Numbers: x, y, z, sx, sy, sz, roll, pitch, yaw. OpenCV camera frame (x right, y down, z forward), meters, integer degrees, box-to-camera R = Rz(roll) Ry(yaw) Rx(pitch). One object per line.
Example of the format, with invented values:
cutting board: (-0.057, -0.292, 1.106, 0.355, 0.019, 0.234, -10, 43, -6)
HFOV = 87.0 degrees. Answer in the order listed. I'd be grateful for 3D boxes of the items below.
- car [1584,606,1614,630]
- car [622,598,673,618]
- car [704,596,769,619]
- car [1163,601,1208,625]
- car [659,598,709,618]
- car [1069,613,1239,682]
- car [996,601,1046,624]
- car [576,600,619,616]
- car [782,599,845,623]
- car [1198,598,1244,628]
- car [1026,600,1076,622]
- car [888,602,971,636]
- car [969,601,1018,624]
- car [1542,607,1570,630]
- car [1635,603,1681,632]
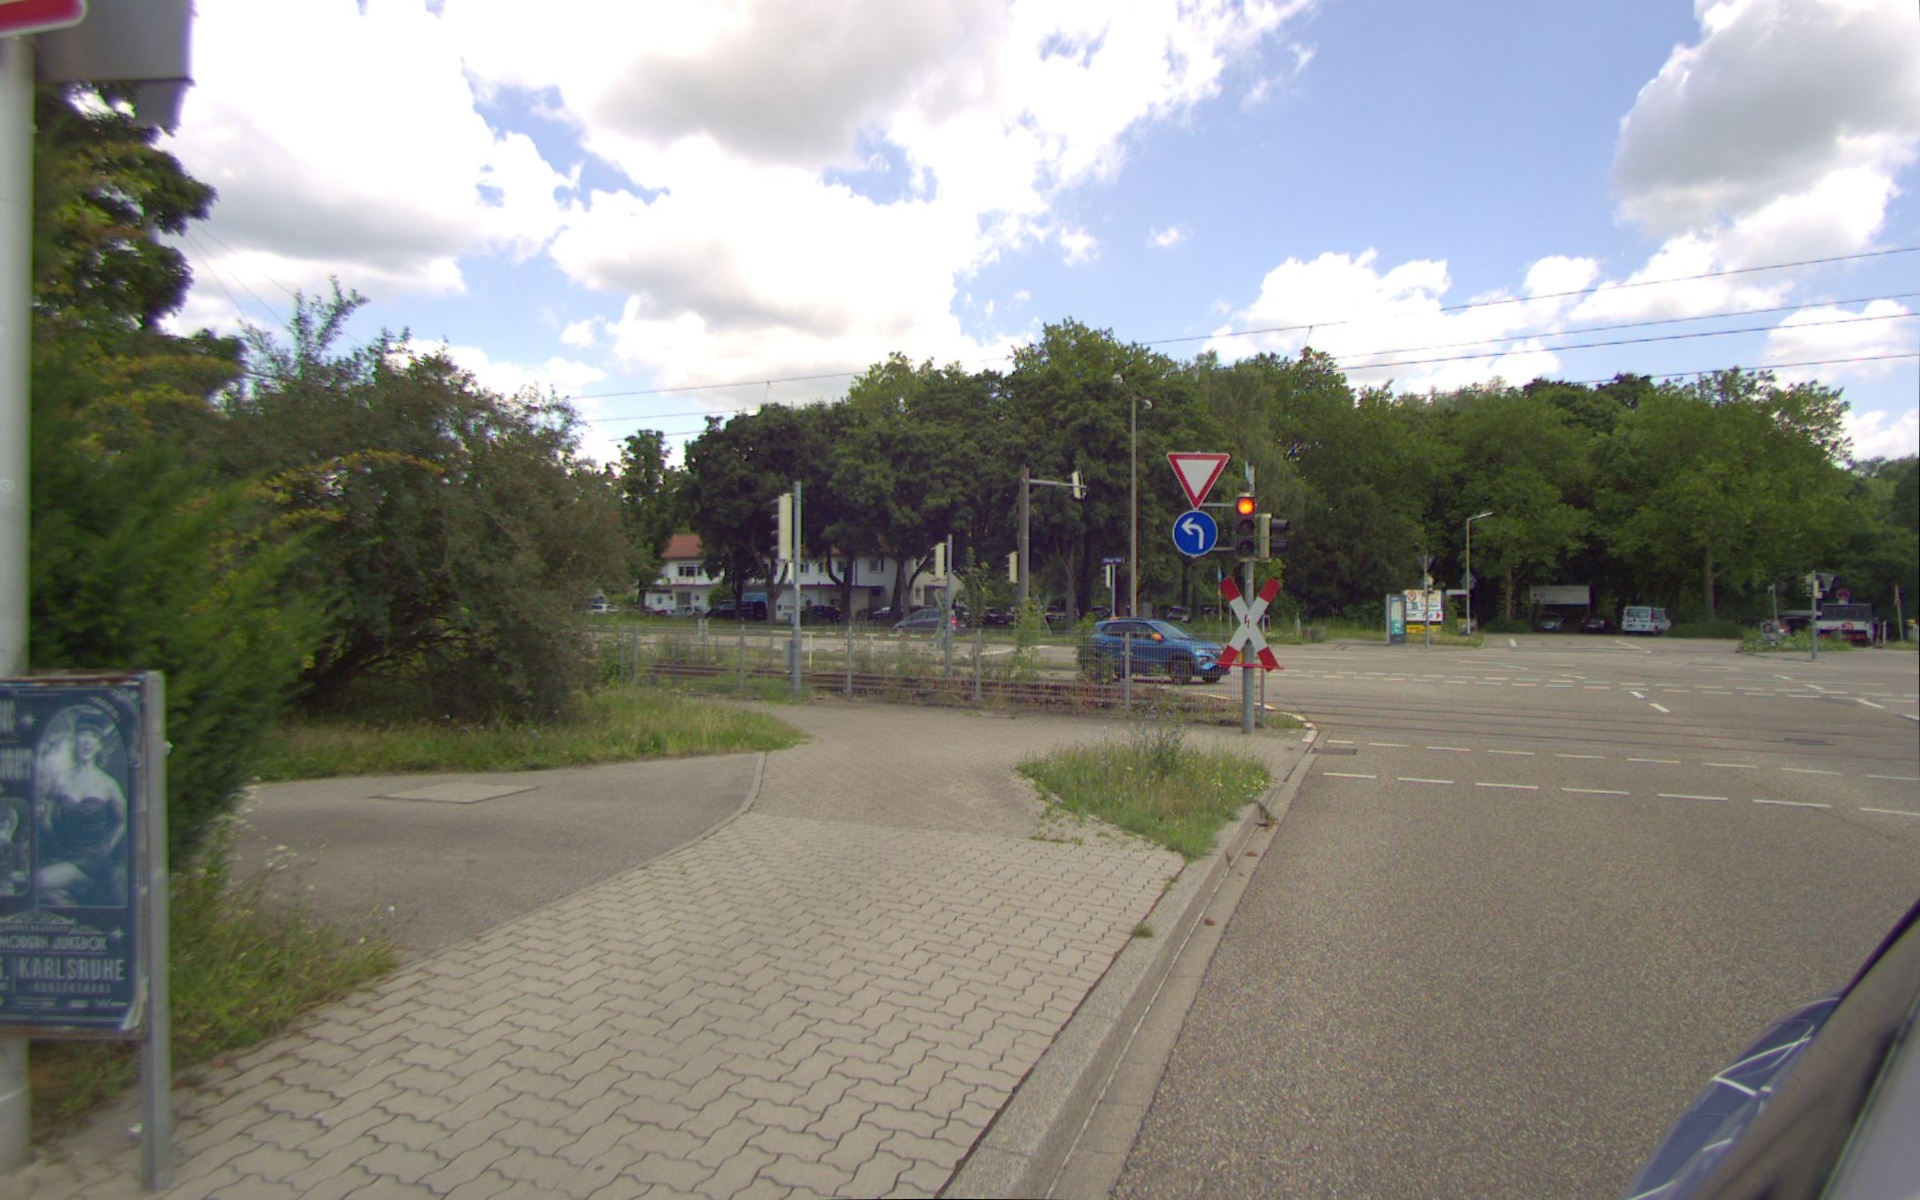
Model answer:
car: (44.805, 1.242, 71.003, 1.605, 1.527, 3.582, 0, 1, 29)
car: (-25.697, 0.625, 83.282, 3.988, 1.608, 1.745, 0, -1, 30)
car: (-17.330, 0.606, 78.427, 4.886, 1.732, 1.869, 0, -1, 30)
car: (16.704, 0.927, 74.877, 1.808, 1.731, 4.073, 0, 0, 37)
car: (-22.202, 0.627, 81.409, 3.634, 1.608, 1.903, 0, -1, 30)
car: (4.514, 1.064, 23.857, 3.691, 1.483, 1.580, 0, -2, 44)
car: (4.473, 0.950, 74.546, 1.959, 1.608, 4.028, 1, -2, -25)
car: (-30.765, 0.670, 85.799, 3.446, 1.348, 1.610, 0, -1, 30)
car: (-10.944, 0.788, 75.715, 4.306, 1.678, 1.802, 0, 1, 18)
car: (18.715, 0.915, 72.477, 1.987, 2.039, 3.949, 0, -1, 35)
car: (6.739, 0.832, 75.490, 1.959, 1.565, 4.029, 1, -1, -25)
car: (-1.505, 0.937, 50.059, 3.734, 1.614, 1.775, 0, -1, 26)
car: (2.396, 0.922, 73.373, 1.959, 1.608, 4.029, 1, -1, -25)
car: (42.562, 1.317, 72.330, 1.605, 1.527, 3.582, 0, 1, 29)
car: (47.374, 1.181, 68.681, 3.560, 1.815, 1.933, -1, 1, -44)
